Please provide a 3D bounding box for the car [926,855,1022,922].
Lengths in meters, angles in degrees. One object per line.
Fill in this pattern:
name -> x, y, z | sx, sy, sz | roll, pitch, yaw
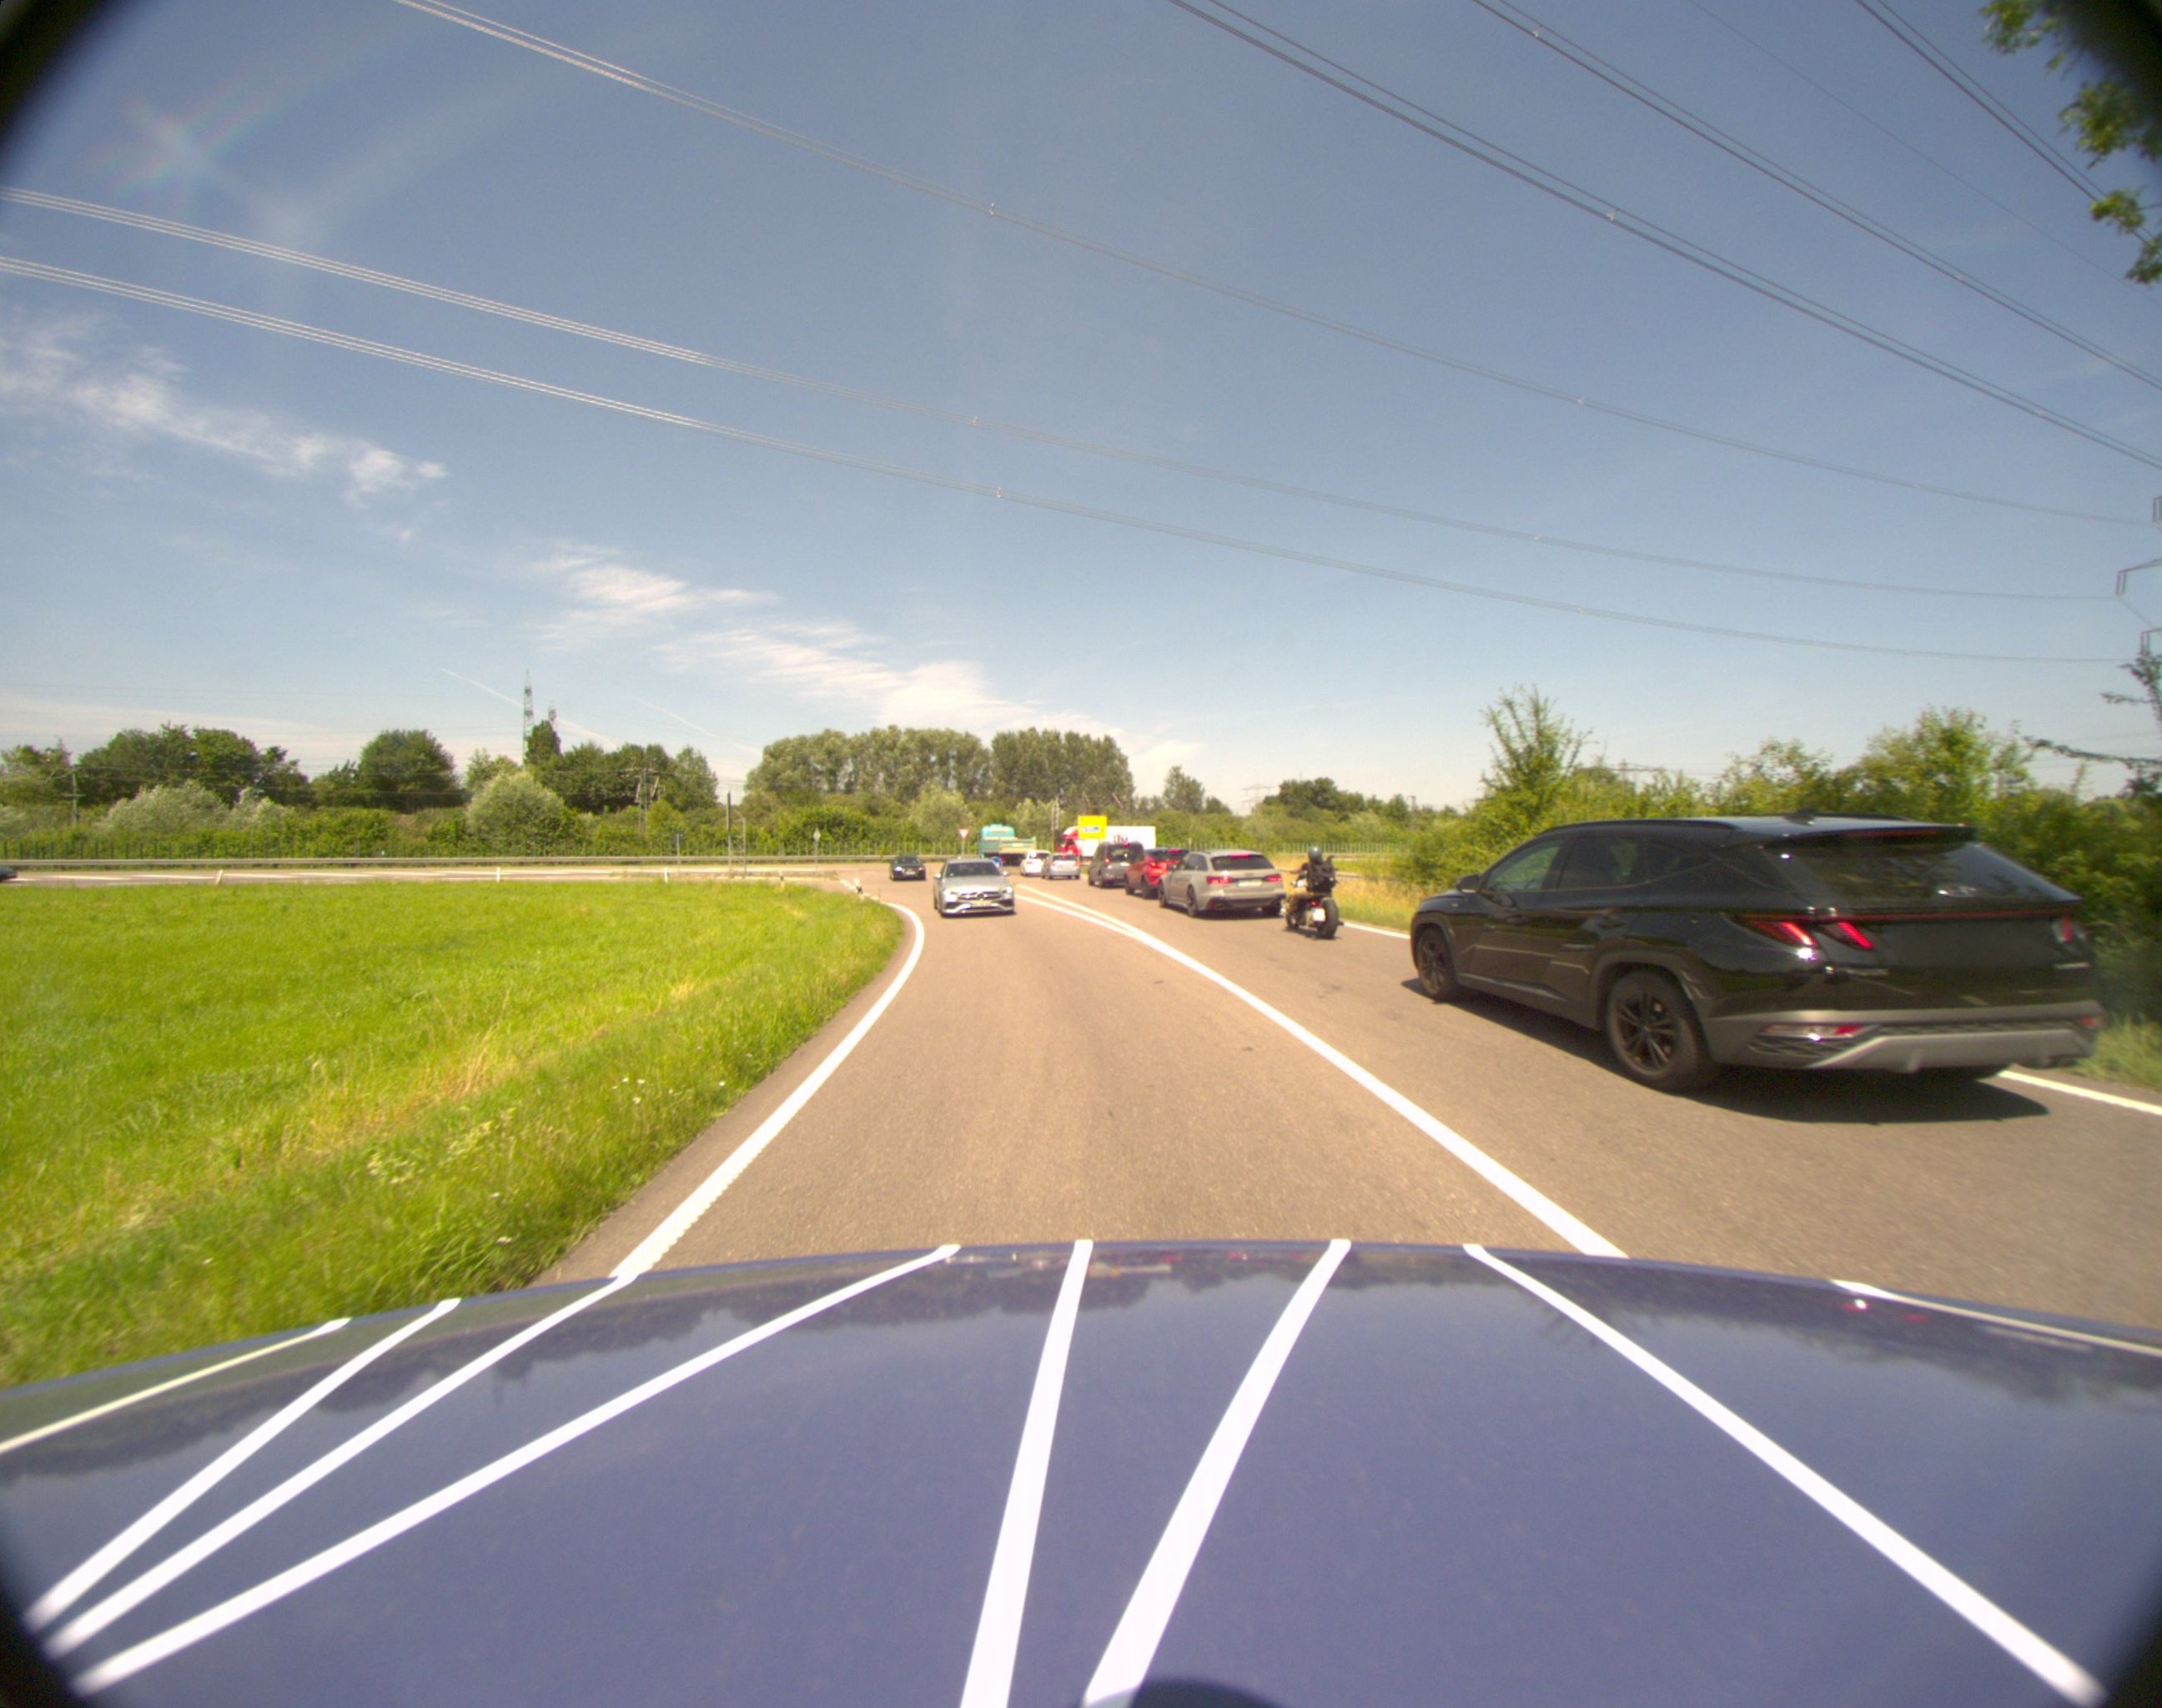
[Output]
car -> -2.962, 0.835, 20.283 | 1.827, 1.478, 4.141 | -2, 1, -18

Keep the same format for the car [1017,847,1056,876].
car -> -2.814, 0.436, 47.179 | 1.778, 1.611, 4.326 | -2, 1, -11

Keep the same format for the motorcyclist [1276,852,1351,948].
motorcyclist -> 3.824, 0.720, 12.573 | 0.783, 1.486, 1.130 | -1, 1, -6

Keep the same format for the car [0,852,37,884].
car -> -58.979, 0.740, 40.258 | 4.004, 1.714, 1.721 | 0, 1, -21

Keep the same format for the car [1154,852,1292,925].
car -> 3.121, 0.704, 17.807 | 1.847, 1.451, 4.806 | -1, 0, -6

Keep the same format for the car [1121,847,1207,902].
car -> 2.496, 0.564, 24.001 | 1.804, 1.507, 4.388 | 0, 1, -6

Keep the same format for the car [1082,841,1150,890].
car -> 1.339, 0.401, 30.991 | 1.932, 1.822, 4.434 | 0, 1, -8

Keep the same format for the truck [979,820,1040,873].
truck -> -5.231, -0.517, 54.267 | 2.612, 3.451, 7.597 | 0, 1, -18

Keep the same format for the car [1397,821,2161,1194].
car -> 4.103, 0.677, 5.561 | 1.706, 1.628, 4.248 | -2, 1, -1

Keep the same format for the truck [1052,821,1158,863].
truck -> 2.319, -1.147, 71.173 | 9.566, 3.559, 2.720 | -2, 2, -24

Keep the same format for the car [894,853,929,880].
car -> -9.561, 0.664, 42.756 | 1.826, 1.431, 4.143 | 0, 1, -13

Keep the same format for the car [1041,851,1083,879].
car -> -1.077, 0.555, 41.224 | 1.638, 1.451, 4.004 | -1, 0, -11

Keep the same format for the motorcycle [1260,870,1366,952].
motorcycle -> 3.810, 0.895, 12.735 | 0.784, 1.117, 2.428 | -2, 1, -6
